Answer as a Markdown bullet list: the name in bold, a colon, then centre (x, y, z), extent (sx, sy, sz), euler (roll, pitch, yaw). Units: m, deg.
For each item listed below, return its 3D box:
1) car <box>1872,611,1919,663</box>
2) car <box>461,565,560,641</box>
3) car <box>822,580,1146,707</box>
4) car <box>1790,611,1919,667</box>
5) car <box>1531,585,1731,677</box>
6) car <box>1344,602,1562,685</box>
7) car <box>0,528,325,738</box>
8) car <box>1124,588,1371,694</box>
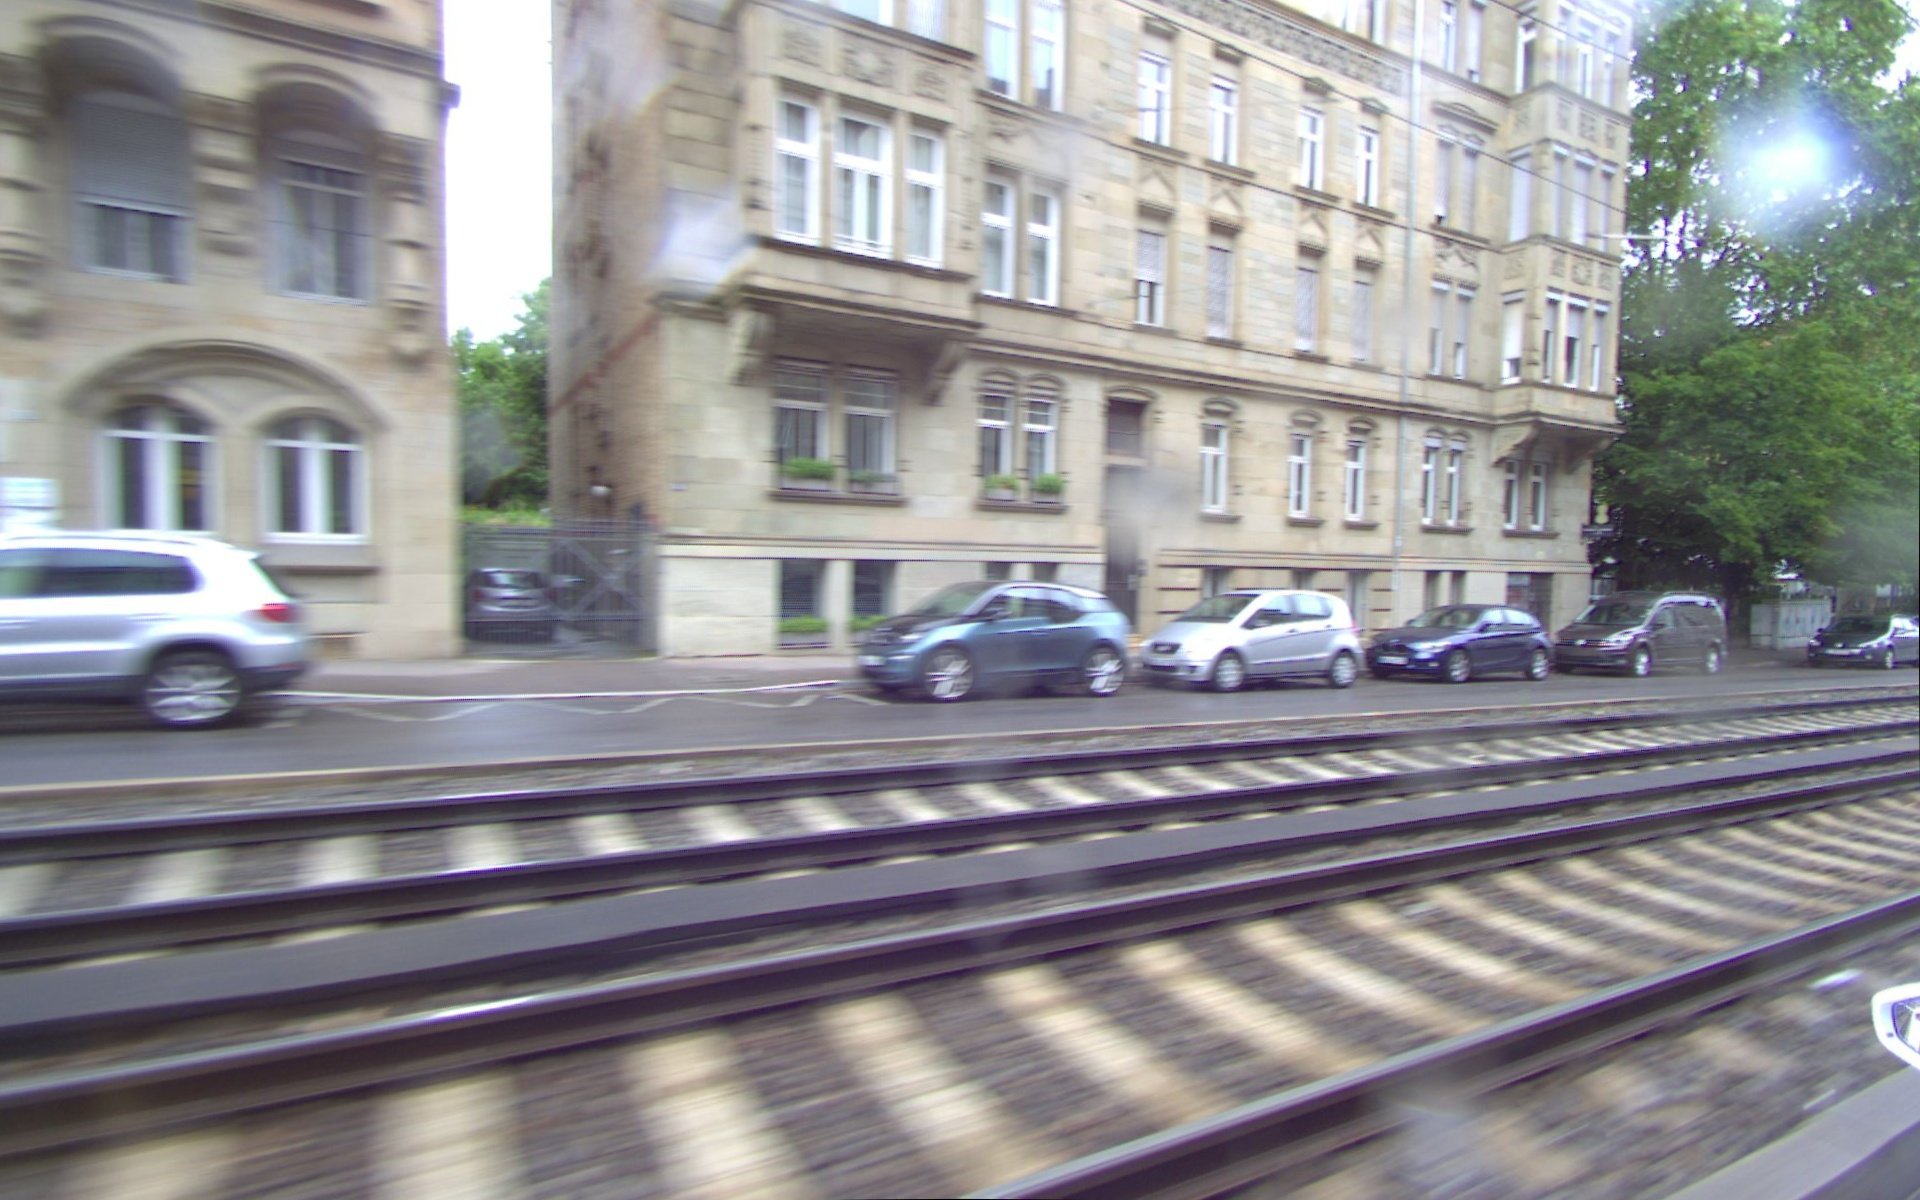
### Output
- **car**: centre (30.440, 1.154, 31.330), extent (4.490, 1.556, 1.745), euler (1, -1, -31)
- **car**: centre (-9.623, 0.021, 21.356), extent (1.709, 1.458, 3.601), euler (1, 1, -27)
- **car**: centre (0.368, 0.550, 13.931), extent (4.120, 1.528, 1.861), euler (1, 0, -30)
- **car**: centre (25.660, 1.085, 28.591), extent (4.500, 1.483, 1.839), euler (1, -1, -32)
- **car**: centre (15.014, 0.664, 22.409), extent (4.761, 1.871, 1.792), euler (1, 0, -30)
- **car**: centre (9.445, 0.794, 19.161), extent (4.221, 1.417, 1.753), euler (1, 0, -31)
- **car**: centre (-8.147, 0.256, 8.813), extent (4.266, 1.674, 1.849), euler (1, 0, -31)
- **car**: centre (4.708, 0.629, 16.352), extent (3.808, 1.544, 1.687), euler (1, 0, -30)
